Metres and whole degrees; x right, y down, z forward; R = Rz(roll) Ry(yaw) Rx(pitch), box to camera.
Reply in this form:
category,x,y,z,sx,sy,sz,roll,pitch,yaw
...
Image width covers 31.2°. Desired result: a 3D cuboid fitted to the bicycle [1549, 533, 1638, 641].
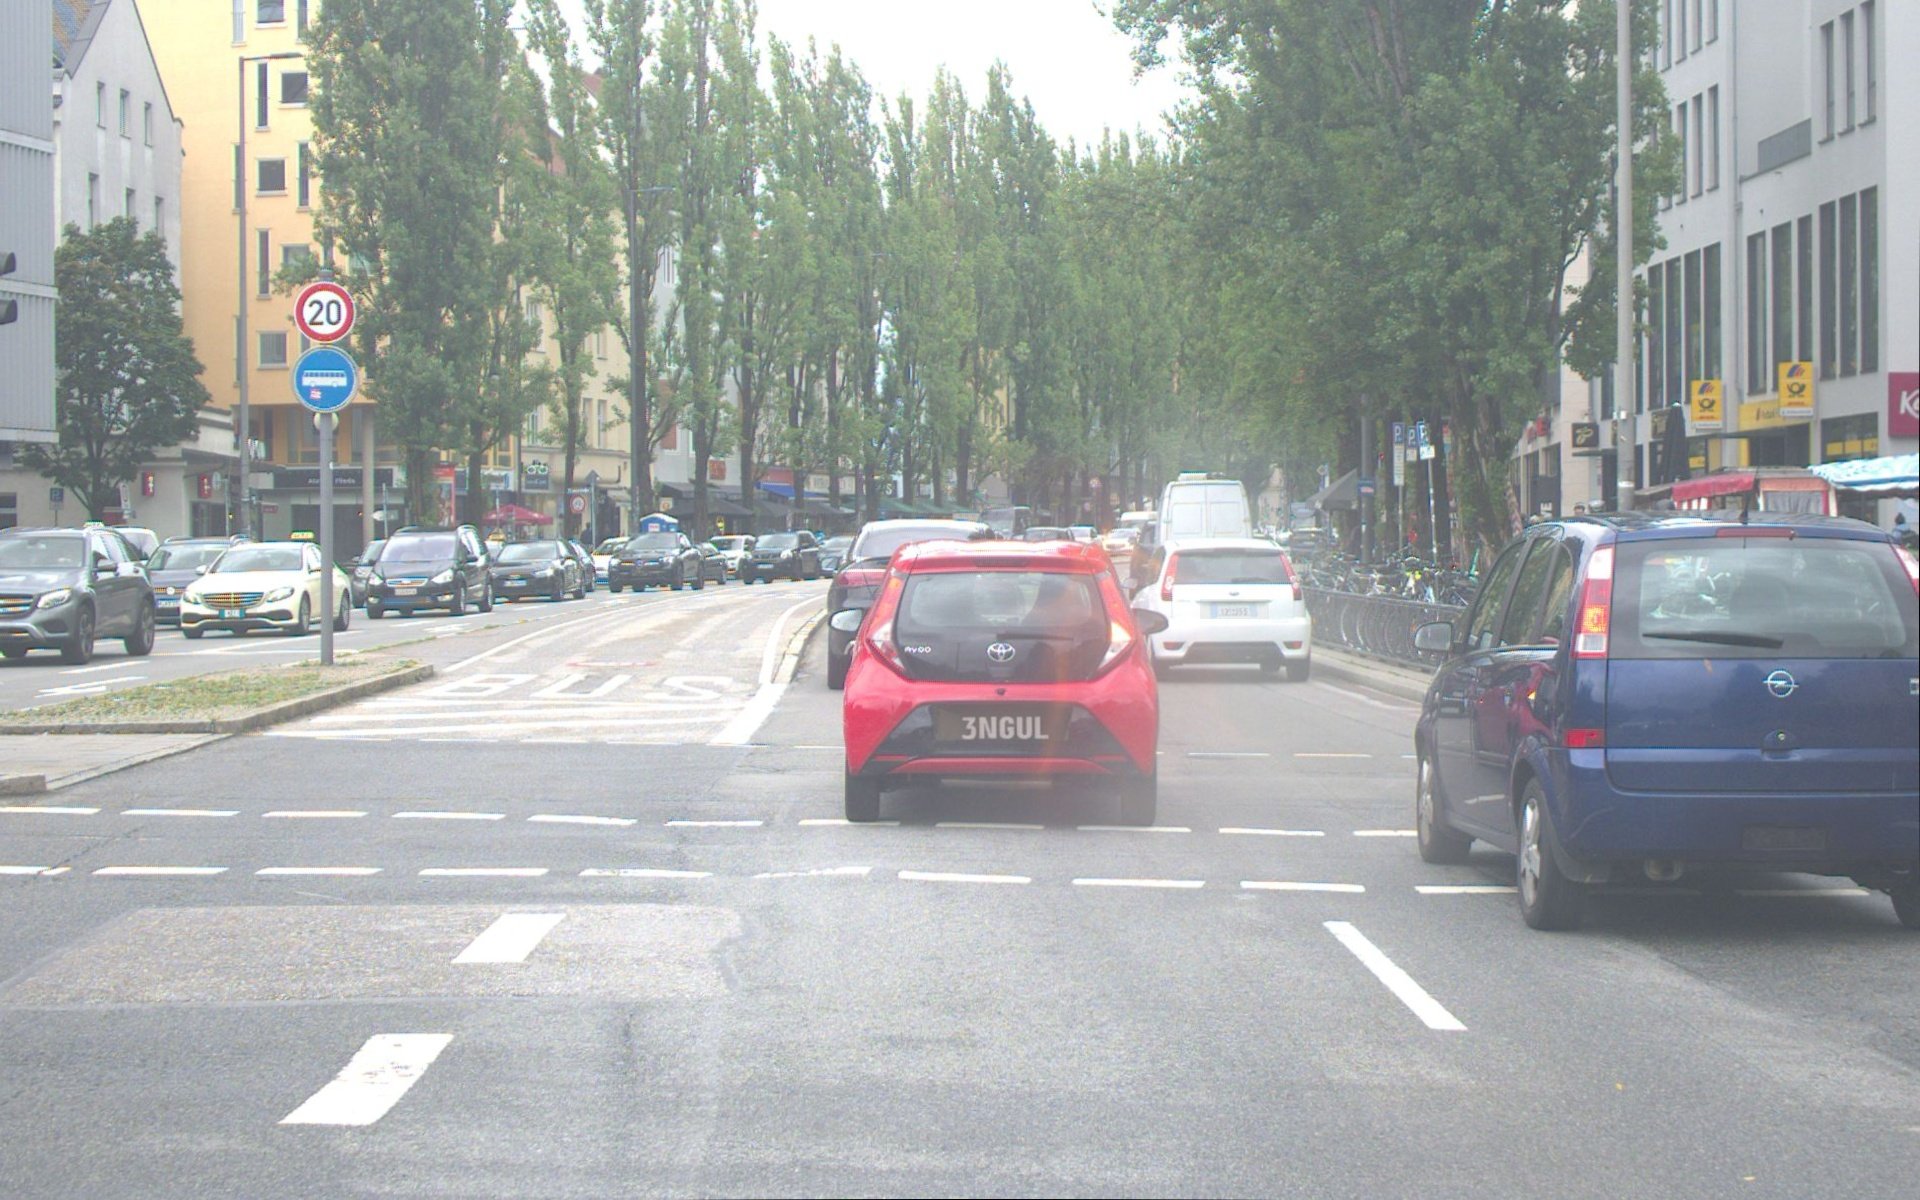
category,x,y,z,sx,sy,sz,roll,pitch,yaw
bicycle,7.746,-0.183,42.146,0.614,1.260,2.520,-1,1,0

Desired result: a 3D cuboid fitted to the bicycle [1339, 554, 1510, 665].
category,x,y,z,sx,sy,sz,roll,pitch,yaw
bicycle,5.065,0.089,37.555,1.836,1.164,0.585,1,2,42

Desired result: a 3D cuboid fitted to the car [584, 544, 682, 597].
category,x,y,z,sx,sy,sz,roll,pitch,yaw
car,-9.814,-0.908,103.522,1.994,1.529,4.464,0,1,7

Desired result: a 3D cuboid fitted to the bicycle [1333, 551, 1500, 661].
category,x,y,z,sx,sy,sz,roll,pitch,yaw
bicycle,5.082,0.056,38.336,1.836,1.193,0.585,1,2,42

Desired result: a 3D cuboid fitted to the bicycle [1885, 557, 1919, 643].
category,x,y,z,sx,sy,sz,roll,pitch,yaw
bicycle,11.330,-0.007,39.620,1.243,0.978,0.369,-1,1,-3

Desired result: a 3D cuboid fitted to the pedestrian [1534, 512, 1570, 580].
category,x,y,z,sx,sy,sz,roll,pitch,yaw
pedestrian,13.684,-1.252,79.460,0.713,1.553,0.676,0,1,-1

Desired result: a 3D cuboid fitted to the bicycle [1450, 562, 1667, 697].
category,x,y,z,sx,sy,sz,roll,pitch,yaw
bicycle,5.334,0.246,30.663,1.803,1.154,0.651,1,2,35

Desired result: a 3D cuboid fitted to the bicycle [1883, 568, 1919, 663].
category,x,y,z,sx,sy,sz,roll,pitch,yaw
bicycle,10.080,0.150,35.263,1.134,0.960,0.369,-1,1,6

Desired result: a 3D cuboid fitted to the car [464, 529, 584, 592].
category,x,y,z,sx,sy,sz,roll,pitch,yaw
car,-9.929,-0.912,78.568,1.845,1.377,4.600,0,1,4

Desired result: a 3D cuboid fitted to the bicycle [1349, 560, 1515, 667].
category,x,y,z,sx,sy,sz,roll,pitch,yaw
bicycle,5.054,0.133,36.892,1.803,1.107,0.490,1,2,42

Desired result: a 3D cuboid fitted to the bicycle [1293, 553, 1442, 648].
category,x,y,z,sx,sy,sz,roll,pitch,yaw
bicycle,5.025,-0.002,42.476,1.836,1.132,0.585,1,2,42

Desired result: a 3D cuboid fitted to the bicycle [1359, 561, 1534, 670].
category,x,y,z,sx,sy,sz,roll,pitch,yaw
bicycle,5.118,0.149,36.227,1.803,1.107,0.585,1,2,42

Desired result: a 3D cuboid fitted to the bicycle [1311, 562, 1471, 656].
category,x,y,z,sx,sy,sz,roll,pitch,yaw
bicycle,4.977,0.096,39.745,1.836,1.048,0.585,1,2,42

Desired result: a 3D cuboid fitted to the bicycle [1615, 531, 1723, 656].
category,x,y,z,sx,sy,sz,roll,pitch,yaw
bicycle,7.497,-0.089,36.434,0.614,1.260,2.520,-1,1,0

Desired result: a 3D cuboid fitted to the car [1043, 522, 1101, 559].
category,x,y,z,sx,sy,sz,roll,pitch,yaw
car,5.265,-2.811,161.152,1.994,1.686,4.412,0,1,12

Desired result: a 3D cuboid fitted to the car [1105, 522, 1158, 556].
category,x,y,z,sx,sy,sz,roll,pitch,yaw
car,8.754,-3.107,175.313,1.994,1.686,4.411,0,1,12

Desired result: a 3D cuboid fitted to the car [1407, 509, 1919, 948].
category,x,y,z,sx,sy,sz,roll,pitch,yaw
car,2.946,0.426,14.220,1.703,1.584,3.556,0,1,0

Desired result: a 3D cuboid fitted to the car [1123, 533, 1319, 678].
category,x,y,z,sx,sy,sz,roll,pitch,yaw
car,2.675,0.016,35.888,1.699,1.421,3.497,0,1,-1

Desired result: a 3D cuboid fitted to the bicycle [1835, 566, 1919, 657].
category,x,y,z,sx,sy,sz,roll,pitch,yaw
bicycle,10.029,0.116,36.896,1.181,0.960,0.369,-1,1,-2

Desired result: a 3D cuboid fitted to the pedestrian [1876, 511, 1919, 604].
category,x,y,z,sx,sy,sz,roll,pitch,yaw
pedestrian,16.250,-0.737,59.194,0.732,1.596,0.742,0,1,-1

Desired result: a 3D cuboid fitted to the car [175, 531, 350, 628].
category,x,y,z,sx,sy,sz,roll,pitch,yaw
car,-10.788,-0.352,53.444,1.765,1.417,4.639,0,1,0

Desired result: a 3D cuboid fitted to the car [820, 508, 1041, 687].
category,x,y,z,sx,sy,sz,roll,pitch,yaw
car,-0.305,-0.070,33.229,1.993,1.612,4.000,0,1,-1

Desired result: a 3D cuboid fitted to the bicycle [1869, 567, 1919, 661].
category,x,y,z,sx,sy,sz,roll,pitch,yaw
bicycle,10.058,0.140,35.703,1.134,0.960,0.369,-1,1,6

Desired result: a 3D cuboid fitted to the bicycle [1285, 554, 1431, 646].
category,x,y,z,sx,sy,sz,roll,pitch,yaw
bicycle,4.997,-0.012,43.237,1.836,1.132,0.585,1,2,42

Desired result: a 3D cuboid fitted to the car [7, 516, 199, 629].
category,x,y,z,sx,sy,sz,roll,pitch,yaw
car,-16.461,-0.571,66.357,1.994,2.006,5.523,-1,2,4

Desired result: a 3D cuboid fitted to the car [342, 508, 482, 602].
category,x,y,z,sx,sy,sz,roll,pitch,yaw
car,-10.520,-0.894,66.312,1.936,1.733,4.588,0,1,0

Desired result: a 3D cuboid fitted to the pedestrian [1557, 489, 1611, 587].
category,x,y,z,sx,sy,sz,roll,pitch,yaw
pedestrian,11.013,-1.099,60.706,0.790,1.722,0.764,-1,1,-1

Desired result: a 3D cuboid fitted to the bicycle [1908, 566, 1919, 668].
category,x,y,z,sx,sy,sz,roll,pitch,yaw
bicycle,10.052,0.160,33.875,1.314,0.996,0.369,-1,1,1

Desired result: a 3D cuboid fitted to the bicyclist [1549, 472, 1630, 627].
category,x,y,z,sx,sy,sz,roll,pitch,yaw
bicyclist,7.706,-0.621,42.124,0.762,1.863,1.133,-1,1,0

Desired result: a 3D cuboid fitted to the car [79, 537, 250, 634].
category,x,y,z,sx,sy,sz,roll,pitch,yaw
car,-13.925,-0.288,60.378,1.839,1.608,4.258,0,1,2

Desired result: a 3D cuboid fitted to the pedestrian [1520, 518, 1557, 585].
category,x,y,z,sx,sy,sz,roll,pitch,yaw
pedestrian,13.874,-1.171,82.467,0.764,1.588,0.676,0,1,-1

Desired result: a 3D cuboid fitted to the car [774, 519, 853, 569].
category,x,y,z,sx,sy,sz,roll,pitch,yaw
car,-5.006,-1.949,118.234,1.994,1.686,4.920,0,1,6

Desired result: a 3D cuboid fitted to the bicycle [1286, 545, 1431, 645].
category,x,y,z,sx,sy,sz,roll,pitch,yaw
bicycle,5.080,-0.076,43.903,1.836,1.237,0.585,1,2,42

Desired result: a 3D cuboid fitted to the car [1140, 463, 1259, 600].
category,x,y,z,sx,sy,sz,roll,pitch,yaw
car,4.884,-1.423,70.758,2.107,2.709,4.804,0,1,0

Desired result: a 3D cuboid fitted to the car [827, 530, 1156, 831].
category,x,y,z,sx,sy,sz,roll,pitch,yaw
car,0.160,0.368,18.614,1.605,1.456,3.130,1,1,0

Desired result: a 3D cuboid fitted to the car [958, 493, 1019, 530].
category,x,y,z,sx,sy,sz,roll,pitch,yaw
car,1.365,-4.131,161.059,1.994,1.686,4.412,0,1,12

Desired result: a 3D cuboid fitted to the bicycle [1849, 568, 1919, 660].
category,x,y,z,sx,sy,sz,roll,pitch,yaw
bicycle,10.041,0.147,36.353,1.181,0.960,0.369,-1,1,4

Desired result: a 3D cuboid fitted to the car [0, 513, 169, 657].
category,x,y,z,sx,sy,sz,roll,pitch,yaw
car,-11.150,-0.226,42.244,1.743,1.664,4.732,-1,1,0

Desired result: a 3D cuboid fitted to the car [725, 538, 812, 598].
category,x,y,z,sx,sy,sz,roll,pitch,yaw
car,-6.053,-1.033,109.049,1.994,1.686,4.920,-4,1,5

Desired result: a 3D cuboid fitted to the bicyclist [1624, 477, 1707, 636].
category,x,y,z,sx,sy,sz,roll,pitch,yaw
bicyclist,7.506,-0.471,36.595,0.614,1.652,1.251,-1,1,0

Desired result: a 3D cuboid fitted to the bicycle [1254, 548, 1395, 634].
category,x,y,z,sx,sy,sz,roll,pitch,yaw
bicycle,4.892,-0.129,46.162,1.836,1.132,0.585,1,2,35

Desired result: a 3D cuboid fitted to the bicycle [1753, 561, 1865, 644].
category,x,y,z,sx,sy,sz,roll,pitch,yaw
bicycle,10.053,0.027,40.720,1.261,0.960,0.369,0,1,9

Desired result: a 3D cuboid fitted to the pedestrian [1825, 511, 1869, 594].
category,x,y,z,sx,sy,sz,roll,pitch,yaw
pedestrian,15.118,-0.815,58.593,0.598,1.397,0.580,0,1,-1

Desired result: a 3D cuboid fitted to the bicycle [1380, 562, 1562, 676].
category,x,y,z,sx,sy,sz,roll,pitch,yaw
bicycle,5.167,0.180,34.800,1.803,1.107,0.561,1,2,41

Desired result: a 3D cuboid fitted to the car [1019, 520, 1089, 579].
category,x,y,z,sx,sy,sz,roll,pitch,yaw
car,3.011,-1.602,109.728,1.994,1.831,3.999,-1,1,5

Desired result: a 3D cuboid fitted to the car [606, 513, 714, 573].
category,x,y,z,sx,sy,sz,roll,pitch,yaw
car,-7.960,-1.532,91.592,1.994,1.529,4.586,0,1,6

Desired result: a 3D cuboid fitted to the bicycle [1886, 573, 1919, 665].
category,x,y,z,sx,sy,sz,roll,pitch,yaw
bicycle,9.999,0.183,34.531,1.292,0.912,0.369,-1,1,1

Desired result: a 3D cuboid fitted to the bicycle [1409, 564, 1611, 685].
category,x,y,z,sx,sy,sz,roll,pitch,yaw
bicycle,5.231,0.224,32.724,1.803,1.107,0.651,1,2,37
